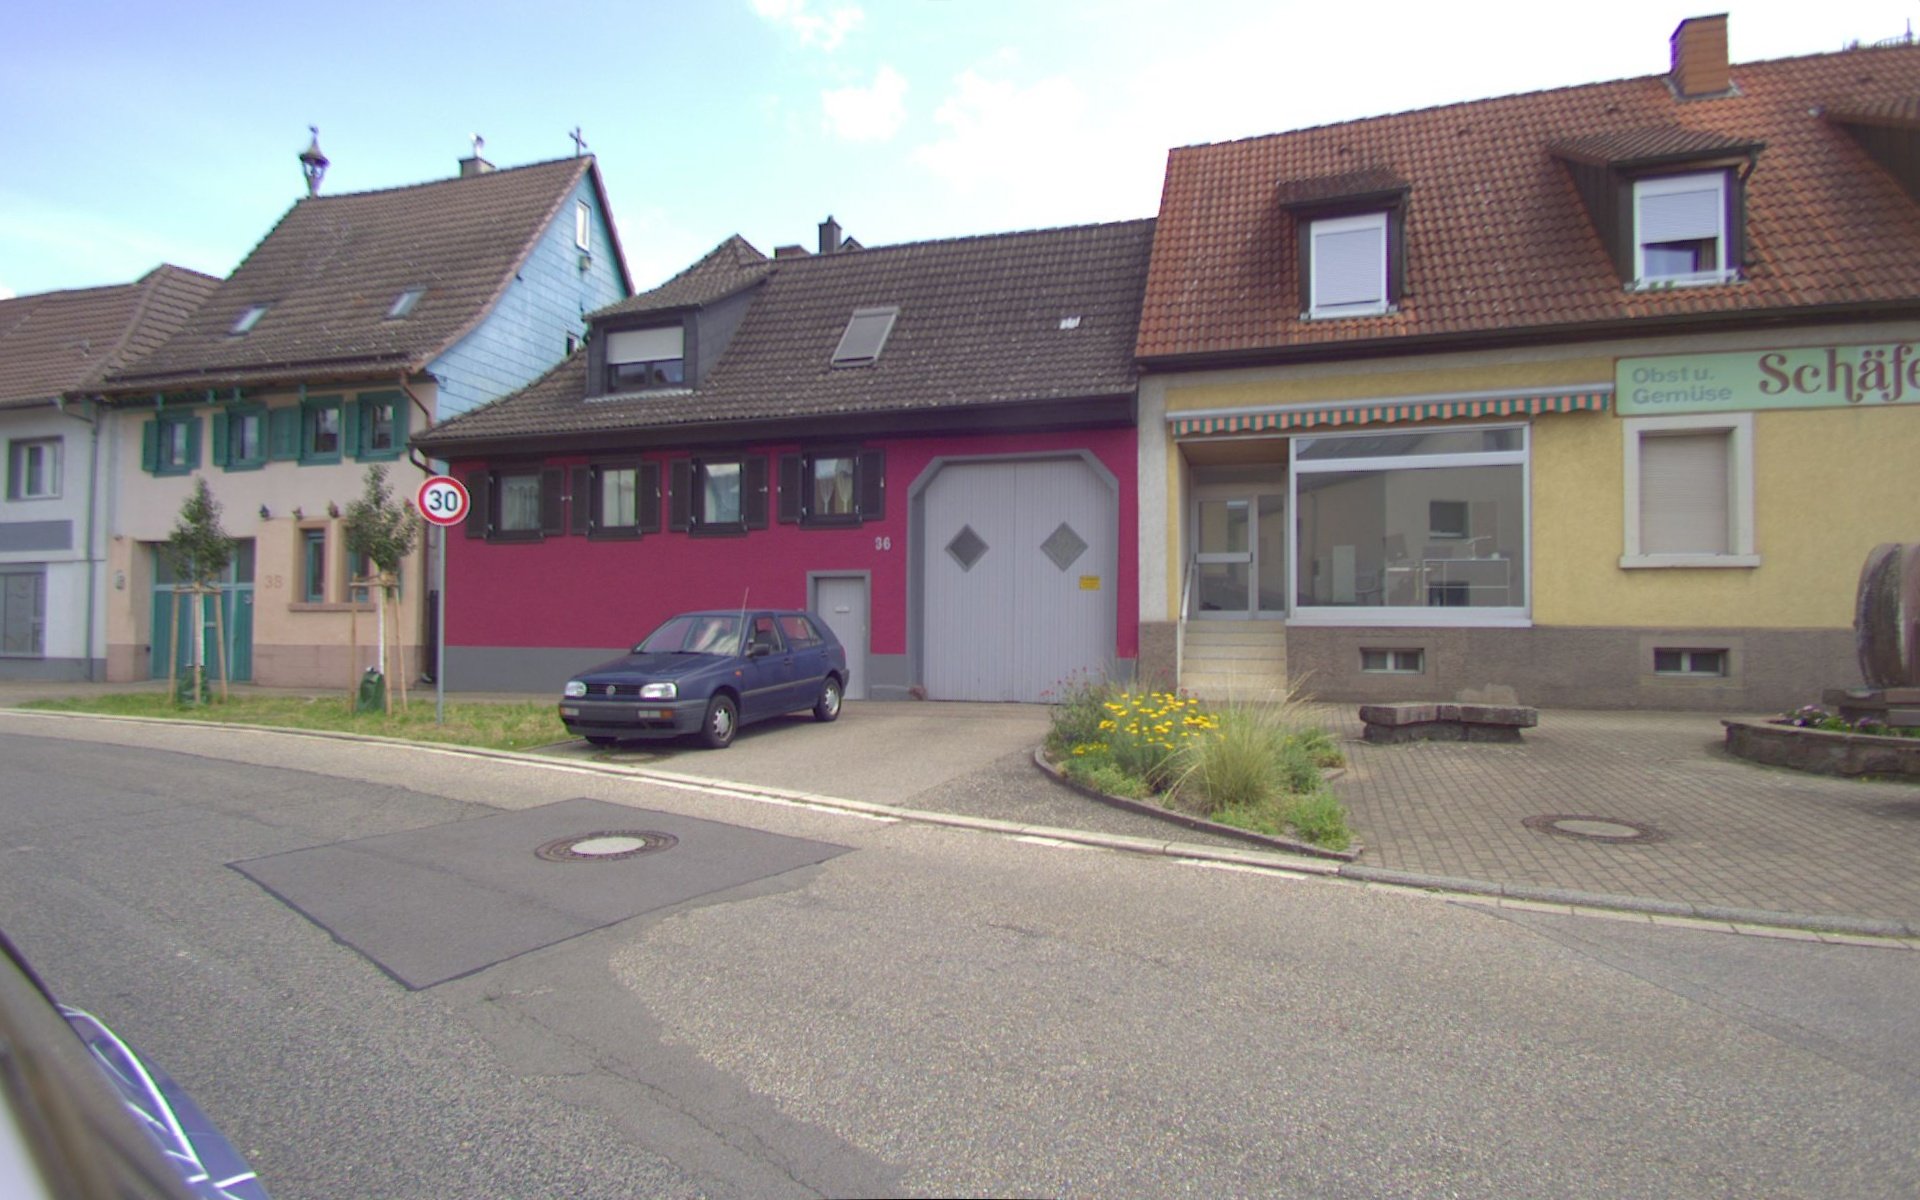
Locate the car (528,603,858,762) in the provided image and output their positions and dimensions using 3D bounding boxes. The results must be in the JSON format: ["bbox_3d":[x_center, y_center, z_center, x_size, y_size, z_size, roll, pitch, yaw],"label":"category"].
[{"bbox_3d":[-2.794,0.782,11.546,1.708,1.475,3.953,0,0,20],"label":"car"}]
